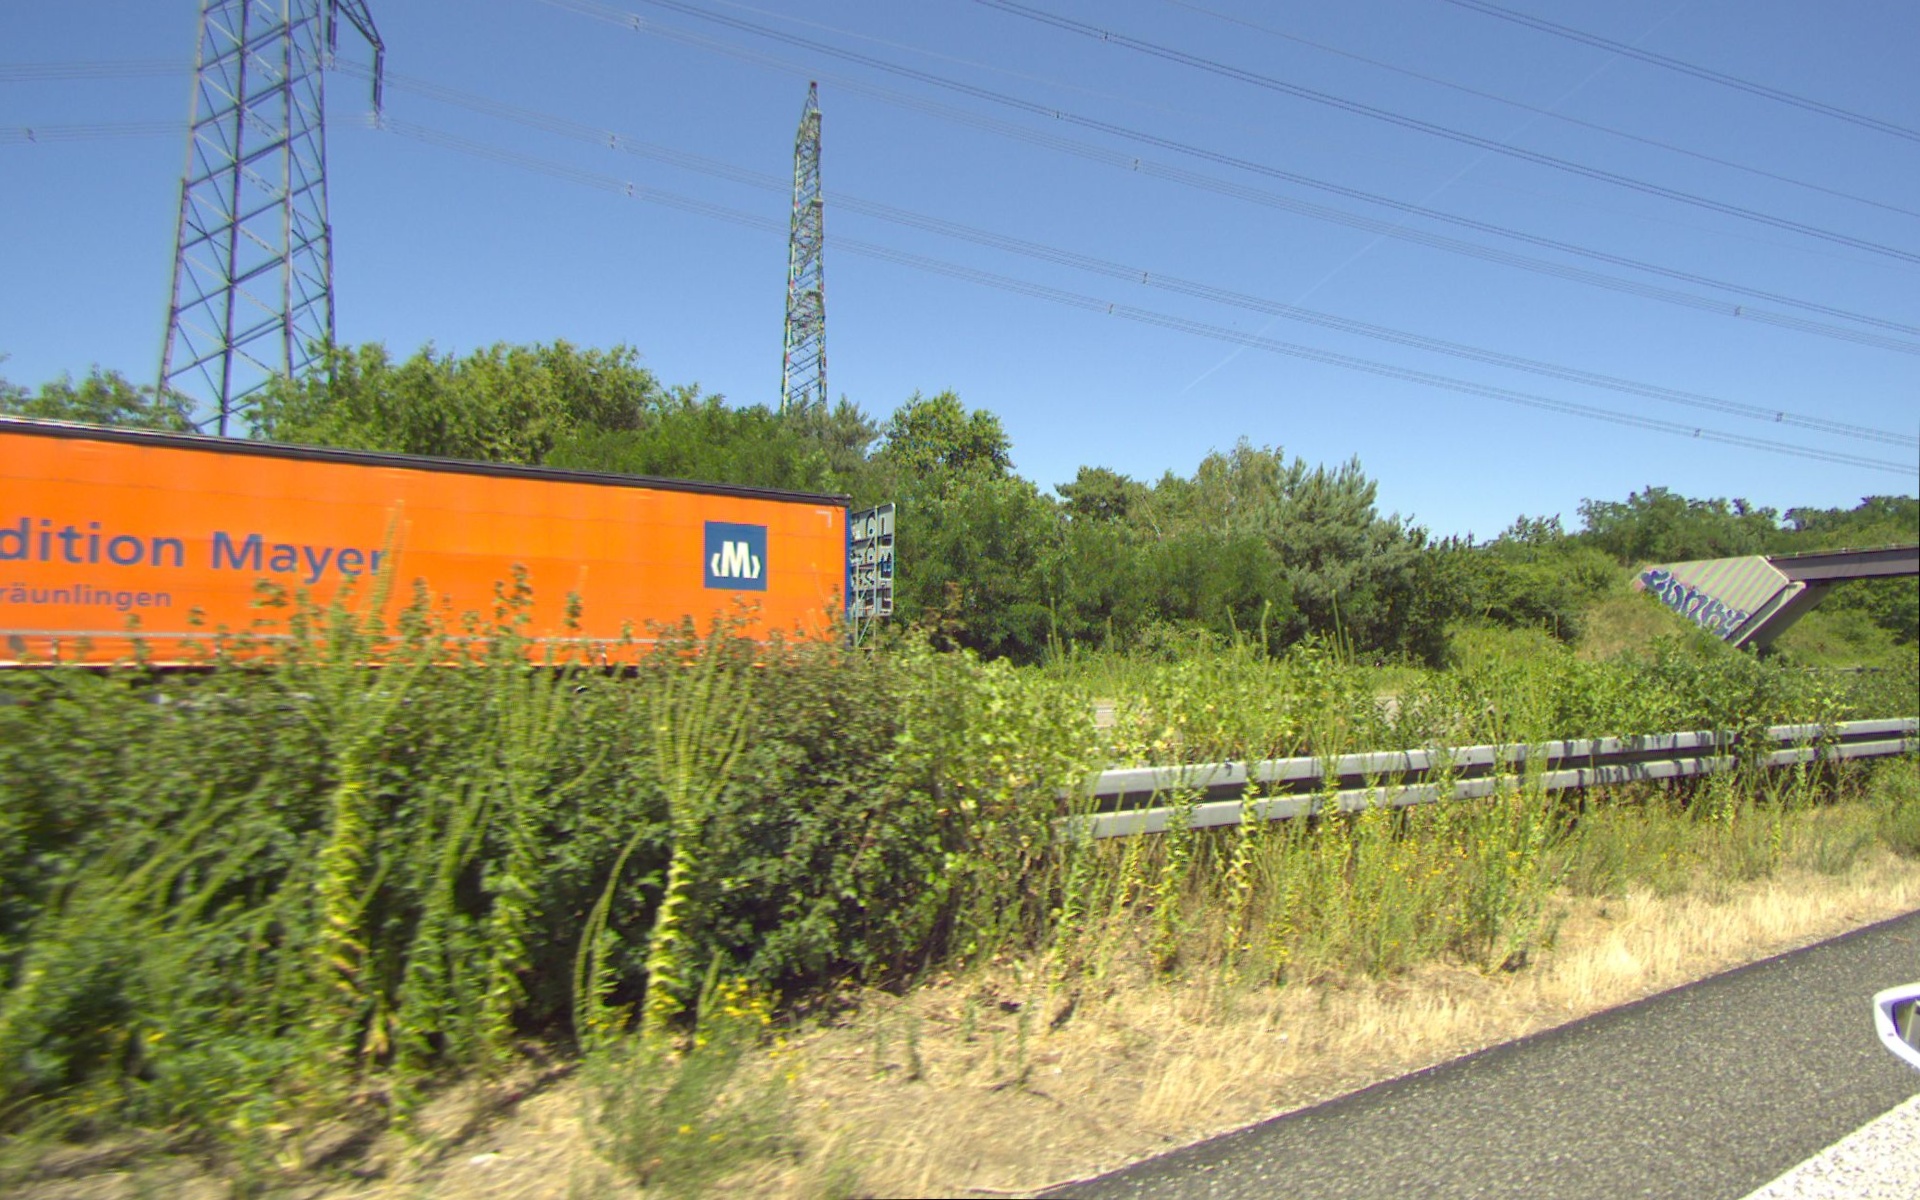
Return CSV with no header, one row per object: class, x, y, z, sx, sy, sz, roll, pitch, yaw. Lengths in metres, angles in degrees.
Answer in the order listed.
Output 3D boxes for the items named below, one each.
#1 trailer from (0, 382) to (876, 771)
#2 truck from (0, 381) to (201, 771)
trailer,-8.279,-0.101,15.121,14.004,4.465,3.327,2,-2,-31
truck,-14.009,-0.307,11.617,7.881,4.465,3.327,2,-2,-31
